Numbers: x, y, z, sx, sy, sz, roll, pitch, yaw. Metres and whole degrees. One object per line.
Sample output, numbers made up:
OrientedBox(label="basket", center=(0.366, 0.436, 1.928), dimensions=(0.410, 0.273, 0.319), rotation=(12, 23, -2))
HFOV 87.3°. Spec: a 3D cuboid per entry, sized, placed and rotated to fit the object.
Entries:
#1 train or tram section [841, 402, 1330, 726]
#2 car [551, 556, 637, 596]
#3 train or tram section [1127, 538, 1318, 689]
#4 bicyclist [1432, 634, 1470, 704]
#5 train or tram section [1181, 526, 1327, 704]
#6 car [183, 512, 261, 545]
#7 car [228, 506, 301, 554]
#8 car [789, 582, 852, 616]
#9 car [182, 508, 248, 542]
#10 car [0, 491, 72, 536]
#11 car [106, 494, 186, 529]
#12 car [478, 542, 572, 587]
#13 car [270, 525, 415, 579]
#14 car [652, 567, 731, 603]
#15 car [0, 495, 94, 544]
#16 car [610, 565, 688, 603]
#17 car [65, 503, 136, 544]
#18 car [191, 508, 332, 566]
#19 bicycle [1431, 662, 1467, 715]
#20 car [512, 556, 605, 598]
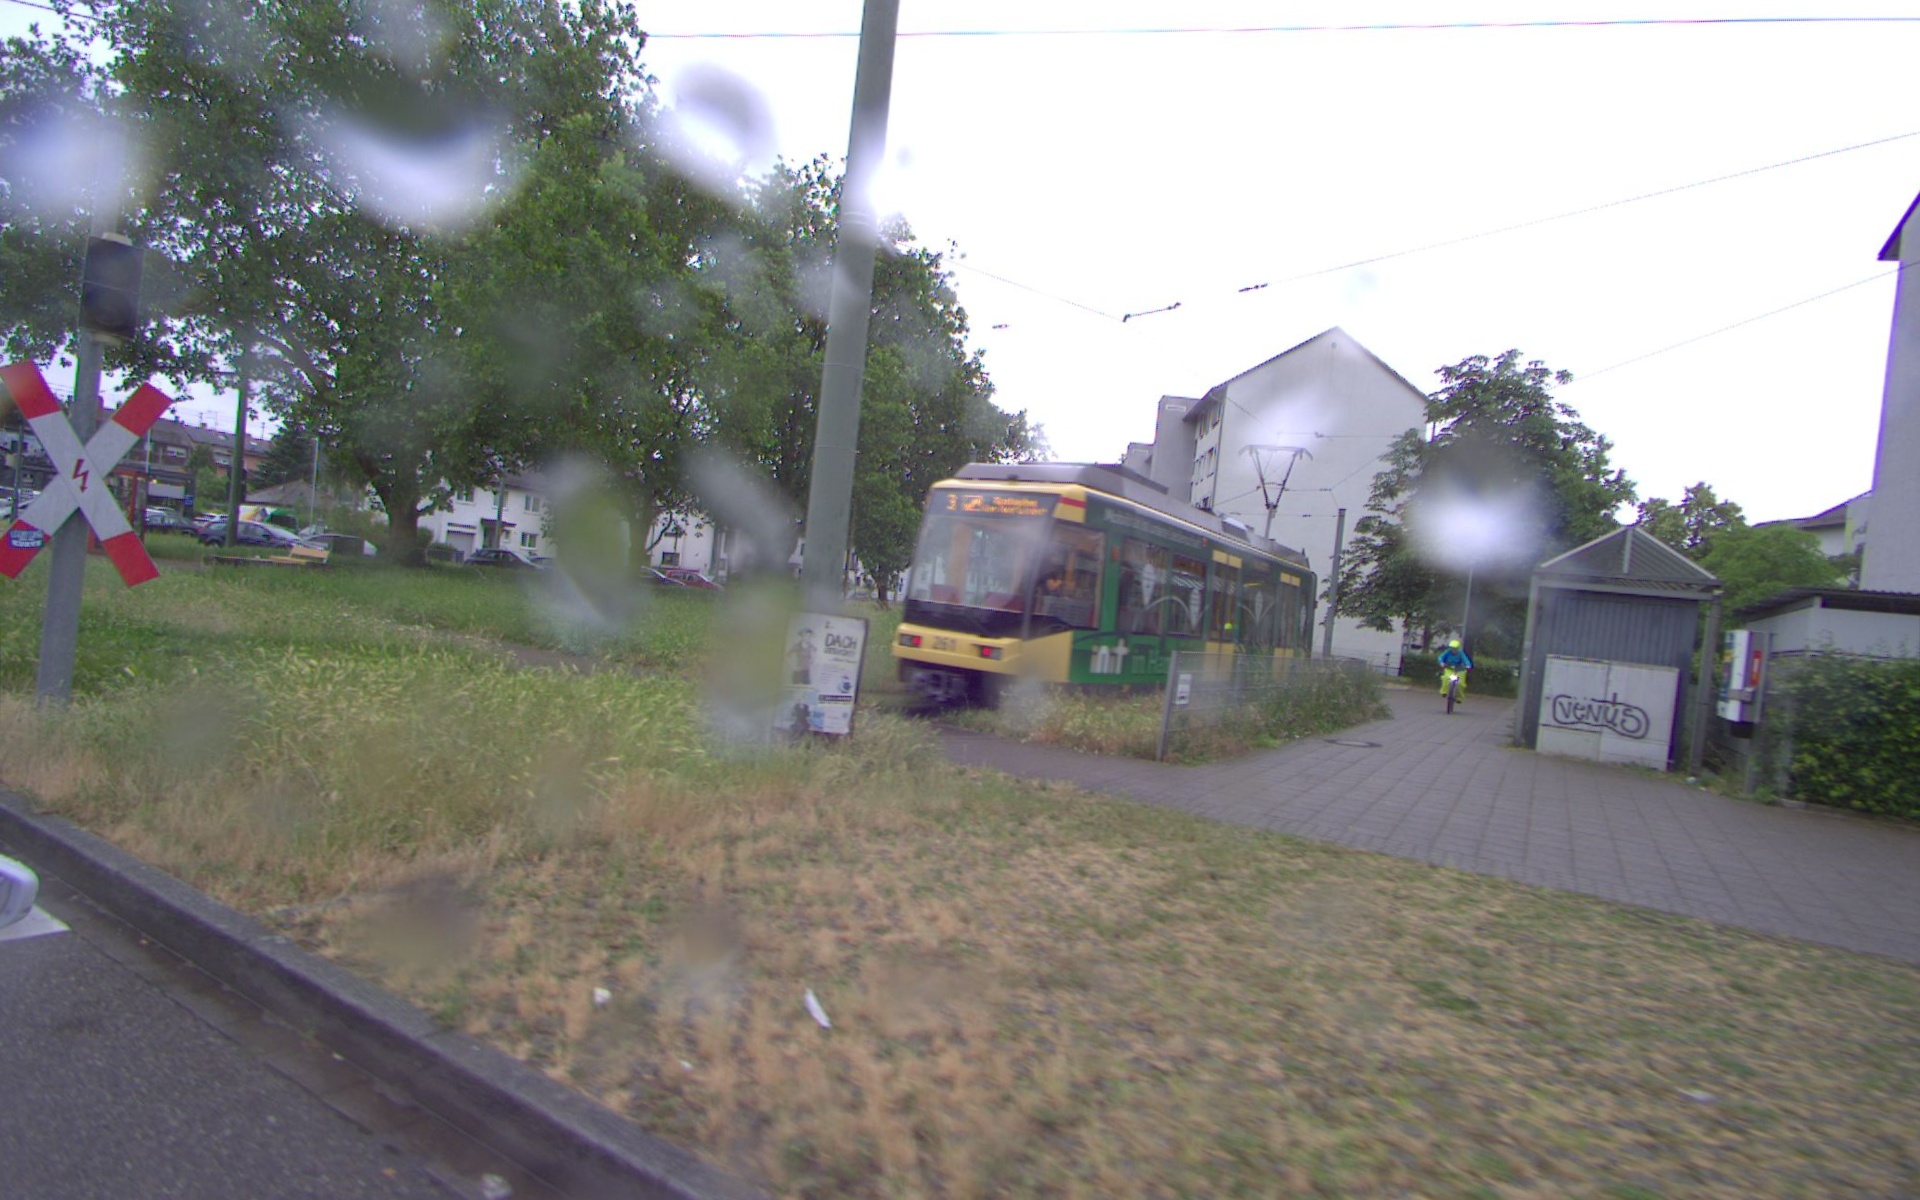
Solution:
OrientedBox(label="train or tram section", center=(3.315, -0.093, 17.375), dimensions=(2.724, 3.597, 13.099), rotation=(6, 0, 33))
OrientedBox(label="car", center=(-18.818, -1.217, 51.881), dimensions=(3.855, 1.513, 1.806), rotation=(8, -2, -14))
OrientedBox(label="train or tram section", center=(7.741, 0.408, 31.927), dimensions=(2.718, 3.597, 12.203), rotation=(6, 0, 1))
OrientedBox(label="bicyclist", center=(11.149, 1.585, 22.841), dimensions=(0.626, 1.491, 1.108), rotation=(6, -2, 26))
OrientedBox(label="train or tram section", center=(7.136, 0.344, 24.349), dimensions=(2.717, 3.599, 4.986), rotation=(6, 1, 18))
OrientedBox(label="car", center=(-52.198, -5.047, 71.223), dimensions=(1.816, 1.658, 3.994), rotation=(6, -2, 32))
OrientedBox(label="car", center=(-43.489, -4.389, 62.893), dimensions=(4.281, 2.471, 1.997), rotation=(6, -2, 31))
OrientedBox(label="car", center=(-9.469, -0.070, 68.359), dimensions=(3.843, 1.785, 1.812), rotation=(7, -2, 1))
OrientedBox(label="car", center=(-58.805, -5.940, 79.436), dimensions=(3.924, 2.037, 2.002), rotation=(7, -2, 14))
OrientedBox(label="car", center=(-51.553, -4.829, 54.966), dimensions=(1.966, 1.973, 3.996), rotation=(6, -2, 30))
OrientedBox(label="car", center=(-58.459, -6.331, 72.310), dimensions=(1.969, 1.811, 3.991), rotation=(6, -2, 35))
OrientedBox(label="car", center=(-20.312, -1.609, 47.024), dimensions=(3.868, 1.513, 1.800), rotation=(8, -2, -25))
OrientedBox(label="car", center=(-22.105, -1.698, 36.114), dimensions=(1.820, 1.300, 3.987), rotation=(6, -3, 39))
OrientedBox(label="car", center=(-15.426, -0.834, 57.948), dimensions=(3.842, 1.513, 1.812), rotation=(7, -2, 3))
OrientedBox(label="car", center=(-43.464, -3.791, 47.281), dimensions=(1.859, 1.720, 3.691), rotation=(6, -2, 33))
OrientedBox(label="car", center=(-16.929, -0.856, 54.902), dimensions=(3.855, 1.513, 1.806), rotation=(8, -2, -14))
OrientedBox(label="car", center=(-46.971, -4.207, 54.968), dimensions=(3.939, 1.811, 1.995), rotation=(6, -2, 36))
OrientedBox(label="car", center=(-26.346, -2.355, 38.099), dimensions=(3.855, 1.513, 1.806), rotation=(8, -2, -14))
OrientedBox(label="bicycle", center=(11.128, 1.994, 22.891), dimensions=(0.589, 1.080, 2.030), rotation=(6, 0, 26))
OrientedBox(label="car", center=(-19.675, -1.091, 49.450), dimensions=(3.855, 1.513, 1.806), rotation=(8, -2, -14))
